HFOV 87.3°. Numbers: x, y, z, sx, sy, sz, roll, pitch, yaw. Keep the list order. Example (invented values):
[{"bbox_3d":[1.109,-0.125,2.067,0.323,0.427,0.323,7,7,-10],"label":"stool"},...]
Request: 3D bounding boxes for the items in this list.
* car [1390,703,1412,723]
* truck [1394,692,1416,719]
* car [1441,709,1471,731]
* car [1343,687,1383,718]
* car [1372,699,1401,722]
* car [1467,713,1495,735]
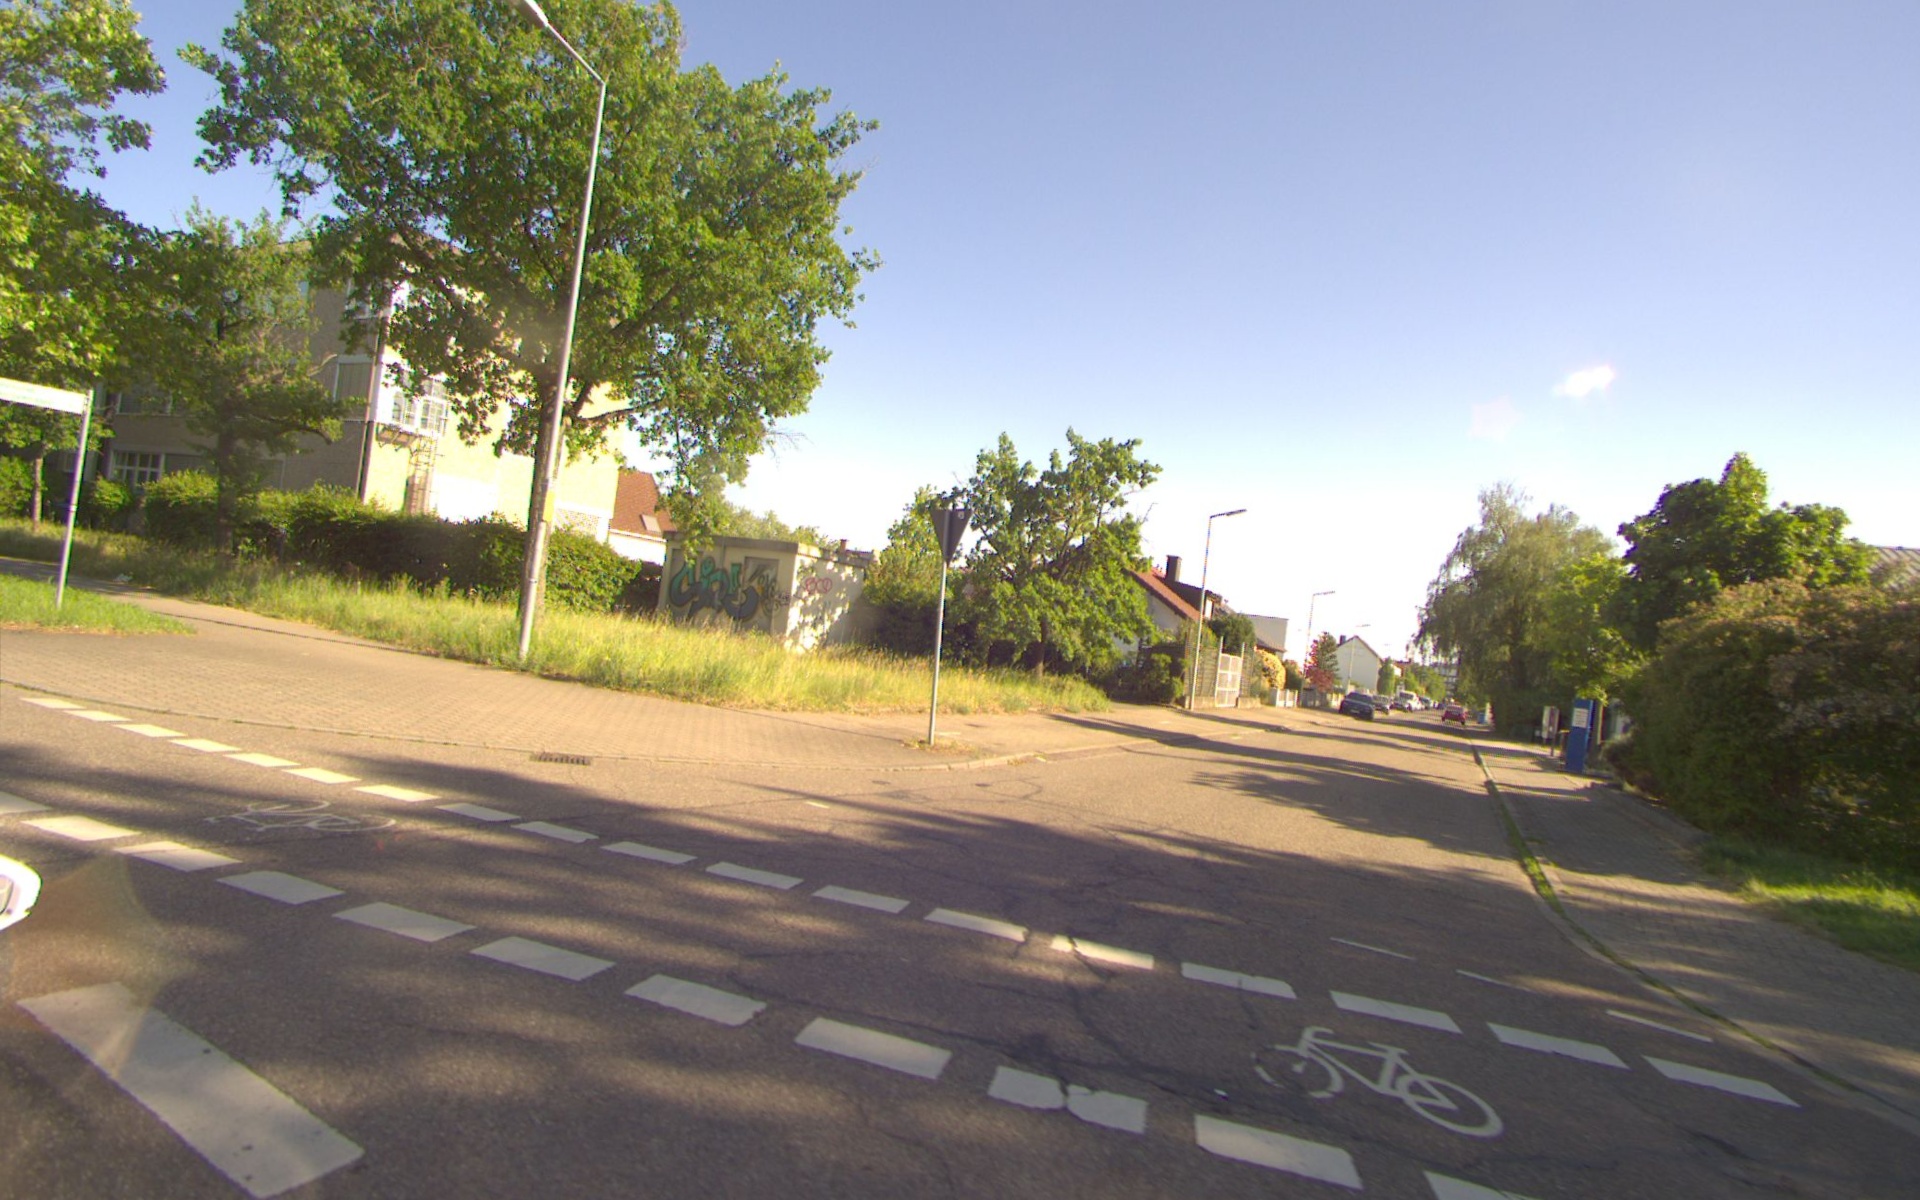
[{"bbox_3d":[48.015,12.363,109.619,1.964,1.890,4.004,7,-3,24],"label":"car"},{"bbox_3d":[53.617,12.756,121.271,1.965,2.937,5.870,6,-3,26],"label":"truck"},{"bbox_3d":[42.639,10.317,86.571,1.964,1.557,4.004,7,-4,24],"label":"car"},{"bbox_3d":[24.625,6.288,61.406,1.964,1.557,4.004,7,-4,24],"label":"car"},{"bbox_3d":[34.978,9.036,82.486,1.964,1.557,4.004,7,-4,24],"label":"car"},{"bbox_3d":[50.615,12.044,97.787,1.964,1.814,4.004,7,-4,24],"label":"car"}]
